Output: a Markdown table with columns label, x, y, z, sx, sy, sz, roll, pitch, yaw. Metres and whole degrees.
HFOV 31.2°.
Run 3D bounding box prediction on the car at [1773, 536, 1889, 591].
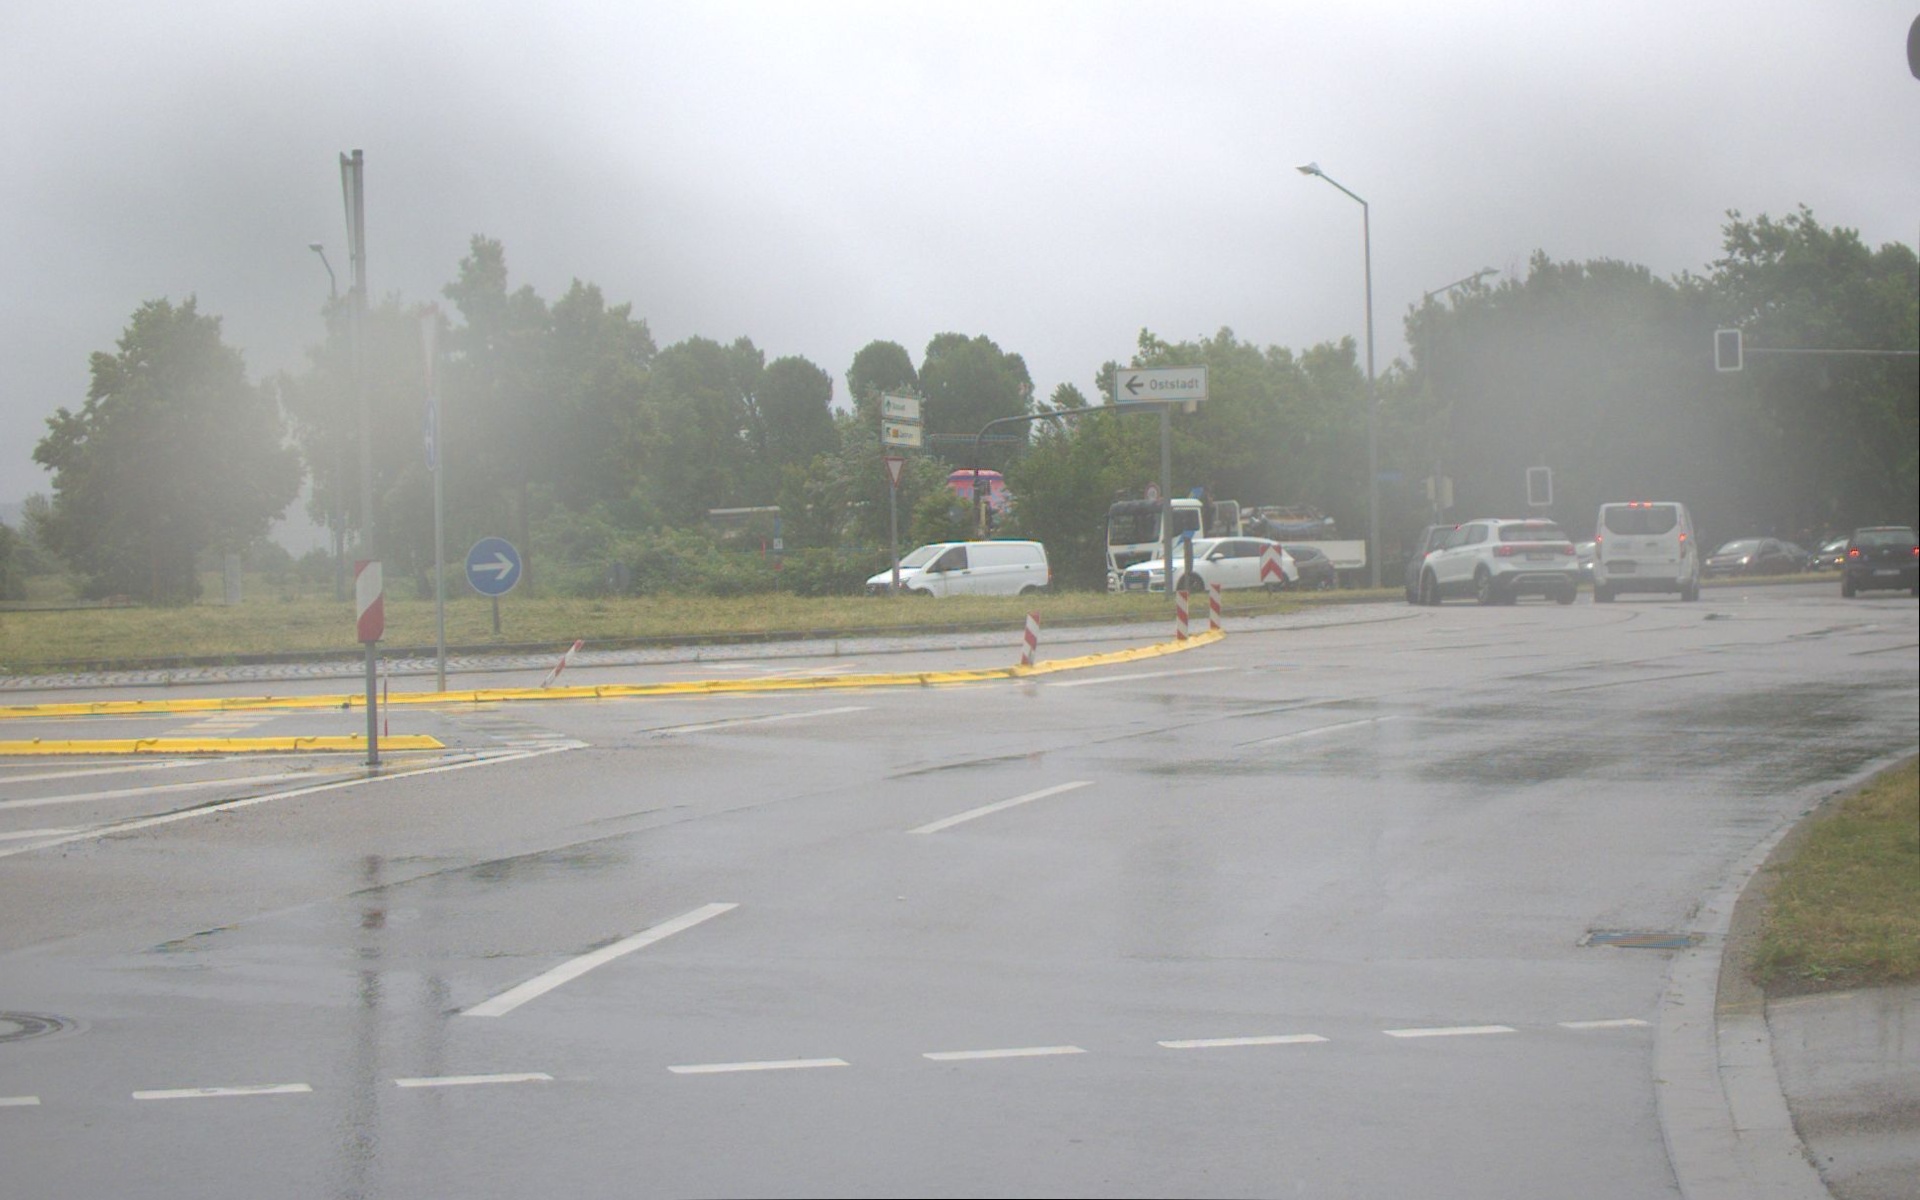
| label | x | y | z | sx | sy | sz | roll | pitch | yaw |
| --- | --- | --- | --- | --- | --- | --- | --- | --- | --- |
| car | 28.421 | -1.183 | 112.118 | 1.998 | 1.744 | 3.990 | 1 | 1 | 43 |

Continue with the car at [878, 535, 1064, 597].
| label | x | y | z | sx | sy | sz | roll | pitch | yaw |
| --- | --- | --- | --- | --- | --- | --- | --- | --- | --- |
| car | 0.297 | -0.852 | 86.852 | 4.534 | 1.487 | 1.611 | 0 | 1 | -32 |

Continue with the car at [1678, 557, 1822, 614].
| label | x | y | z | sx | sy | sz | roll | pitch | yaw |
| --- | --- | --- | --- | --- | --- | --- | --- | --- | --- |
| car | 24.563 | -0.440 | 106.822 | 4.852 | 1.738 | 1.777 | 0 | 1 | -40 |

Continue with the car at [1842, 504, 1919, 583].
| label | x | y | z | sx | sy | sz | roll | pitch | yaw |
| --- | --- | --- | --- | --- | --- | --- | --- | --- | --- |
| car | 18.381 | -1.129 | 67.879 | 1.689 | 1.487 | 3.249 | -1 | 1 | 12 |

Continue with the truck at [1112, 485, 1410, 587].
| label | x | y | z | sx | sy | sz | roll | pitch | yaw |
| --- | --- | --- | --- | --- | --- | --- | --- | --- | --- |
| truck | 8.495 | -1.759 | 96.419 | 8.768 | 2.702 | 2.000 | 0 | 1 | -30 |

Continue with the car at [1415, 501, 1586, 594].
| label | x | y | z | sx | sy | sz | roll | pitch | yaw |
| --- | --- | --- | --- | --- | --- | --- | --- | --- | --- |
| car | 9.875 | -0.956 | 63.125 | 1.680 | 1.642 | 3.948 | 1 | 1 | -14 |

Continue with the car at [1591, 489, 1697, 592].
| label | x | y | z | sx | sy | sz | roll | pitch | yaw |
| --- | --- | --- | --- | --- | --- | --- | --- | --- | --- |
| car | 13.995 | -1.194 | 70.225 | 1.784 | 2.029 | 3.997 | 1 | 1 | 16 |

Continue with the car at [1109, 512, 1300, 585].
| label | x | y | z | sx | sy | sz | roll | pitch | yaw |
| --- | --- | --- | --- | --- | --- | --- | --- | --- | --- |
| car | 6.142 | -1.276 | 86.042 | 4.852 | 1.738 | 1.777 | 0 | 1 | -40 |
